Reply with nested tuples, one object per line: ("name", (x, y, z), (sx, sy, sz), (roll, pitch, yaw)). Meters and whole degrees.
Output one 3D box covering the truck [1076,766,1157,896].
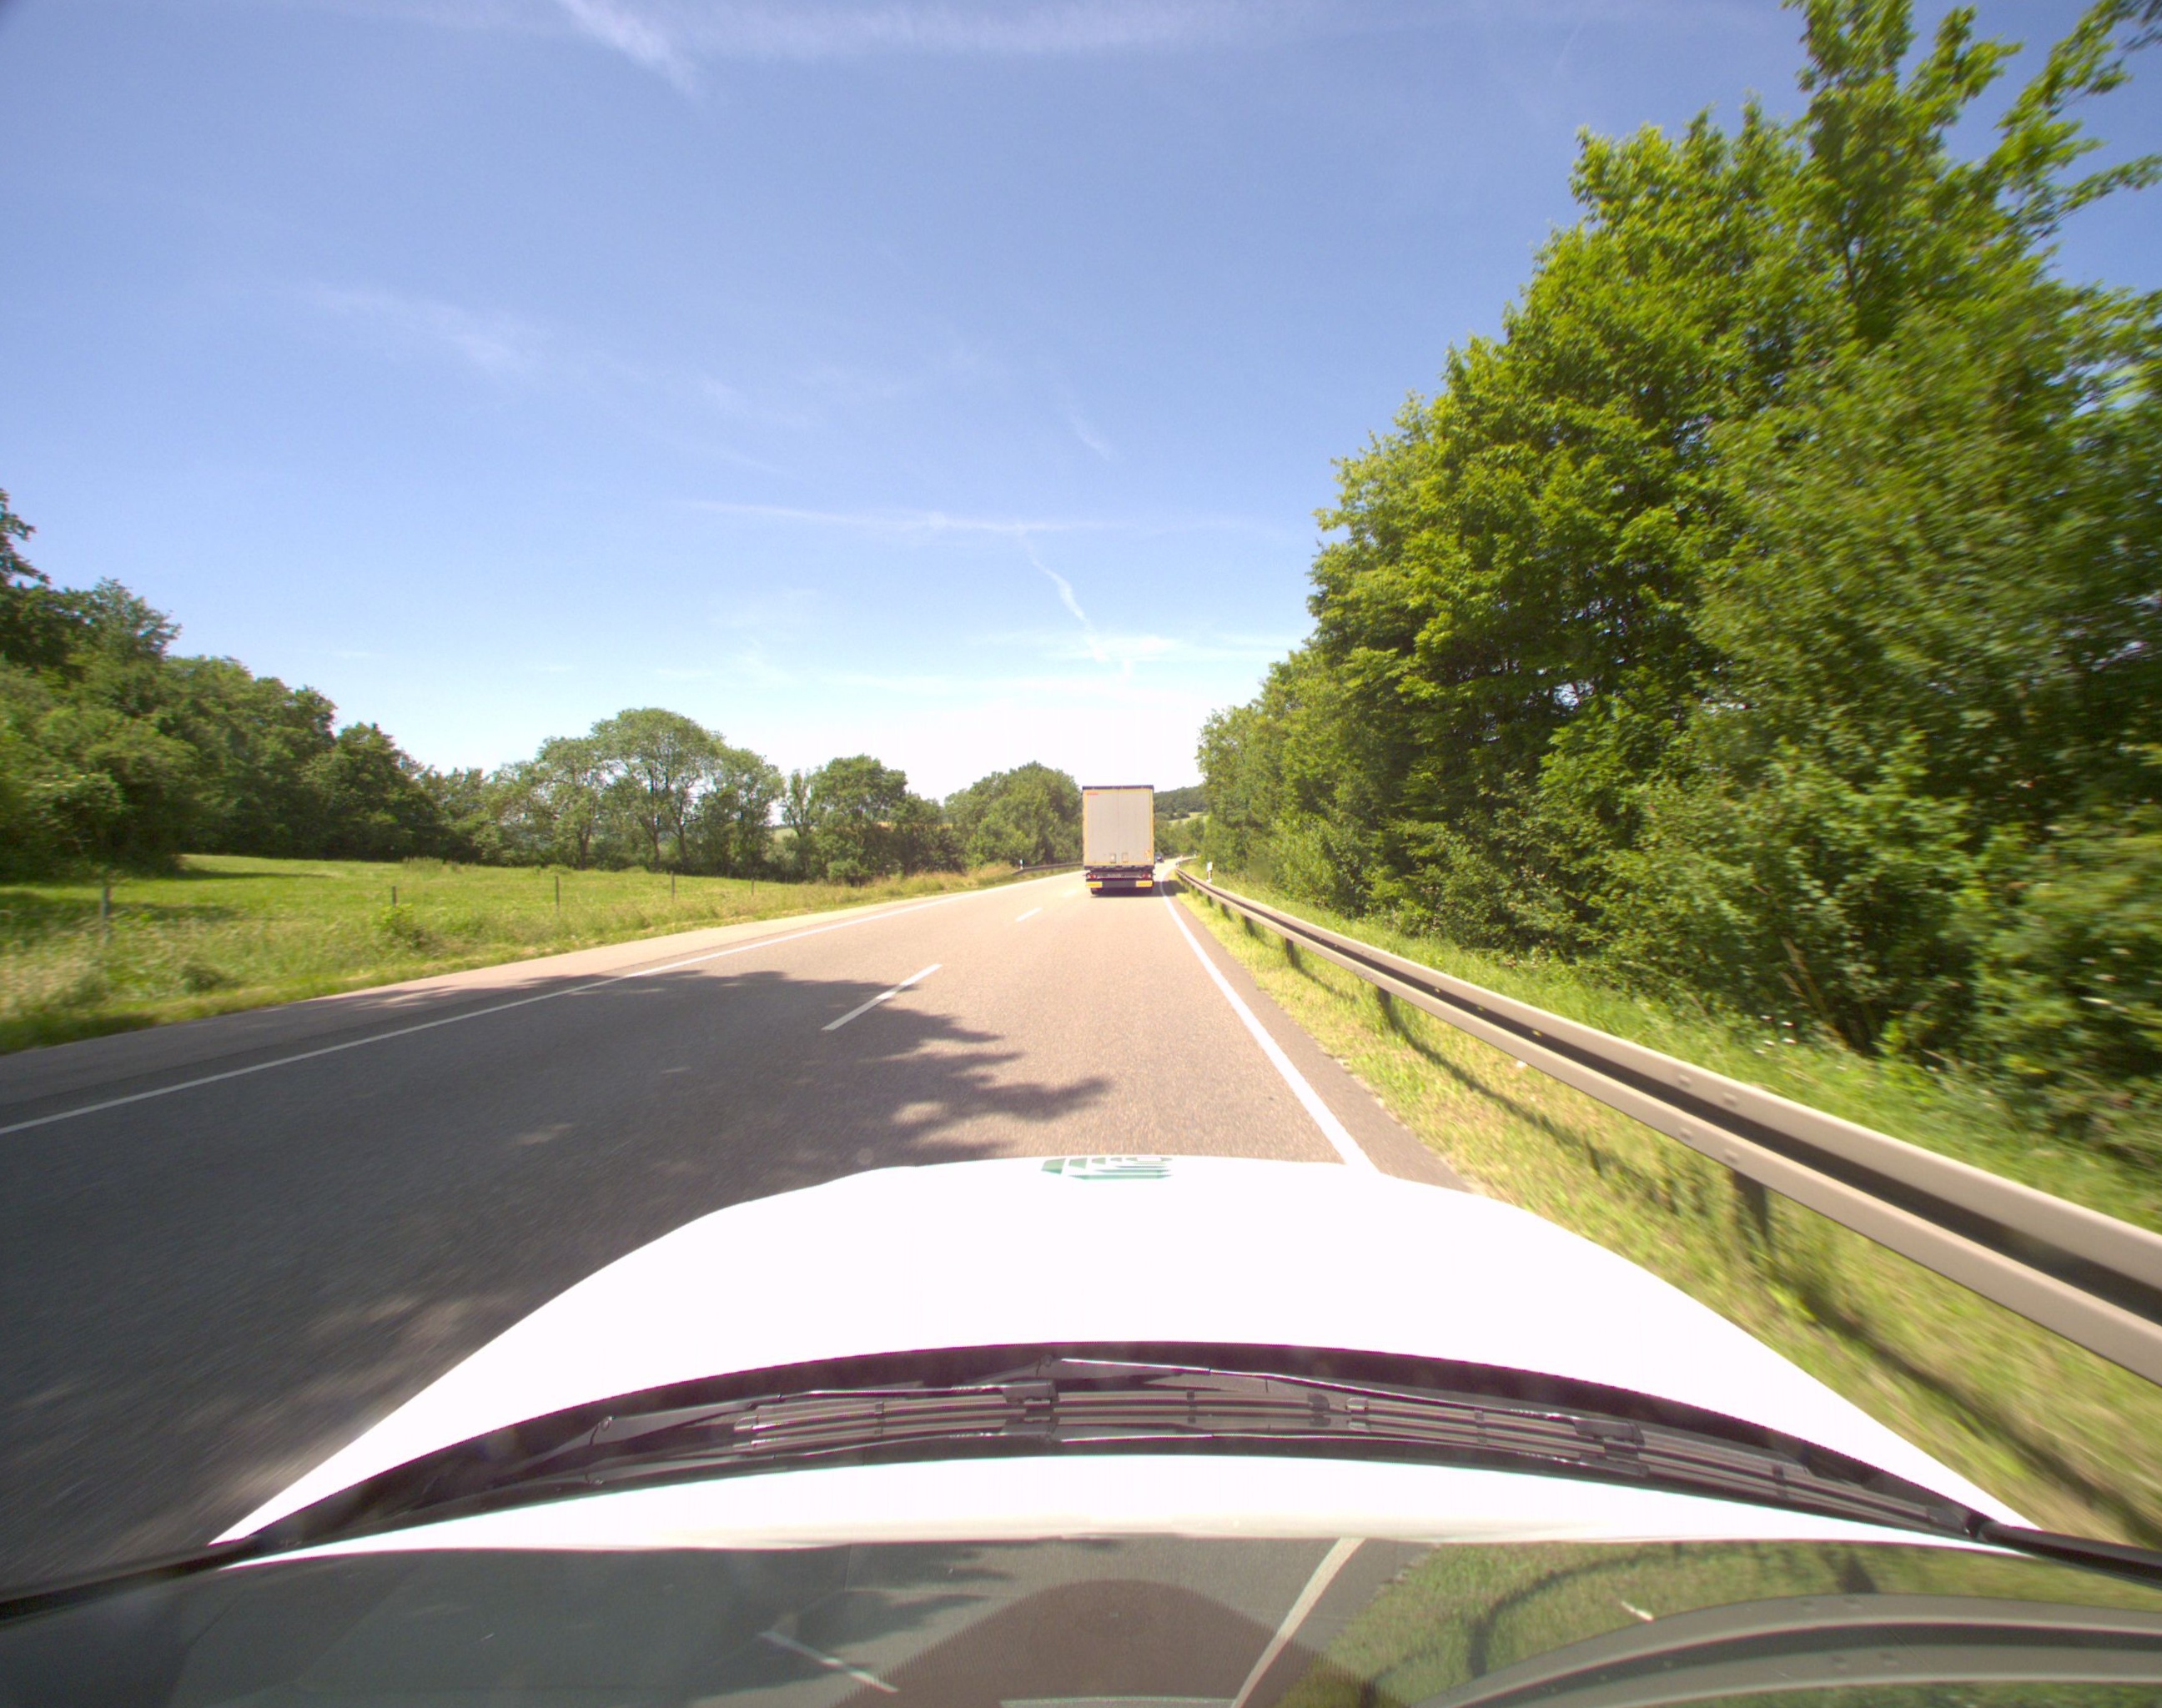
("truck", (1.526, -0.803, 34.609), (2.806, 4.532, 11.775), (-1, 0, 3))
